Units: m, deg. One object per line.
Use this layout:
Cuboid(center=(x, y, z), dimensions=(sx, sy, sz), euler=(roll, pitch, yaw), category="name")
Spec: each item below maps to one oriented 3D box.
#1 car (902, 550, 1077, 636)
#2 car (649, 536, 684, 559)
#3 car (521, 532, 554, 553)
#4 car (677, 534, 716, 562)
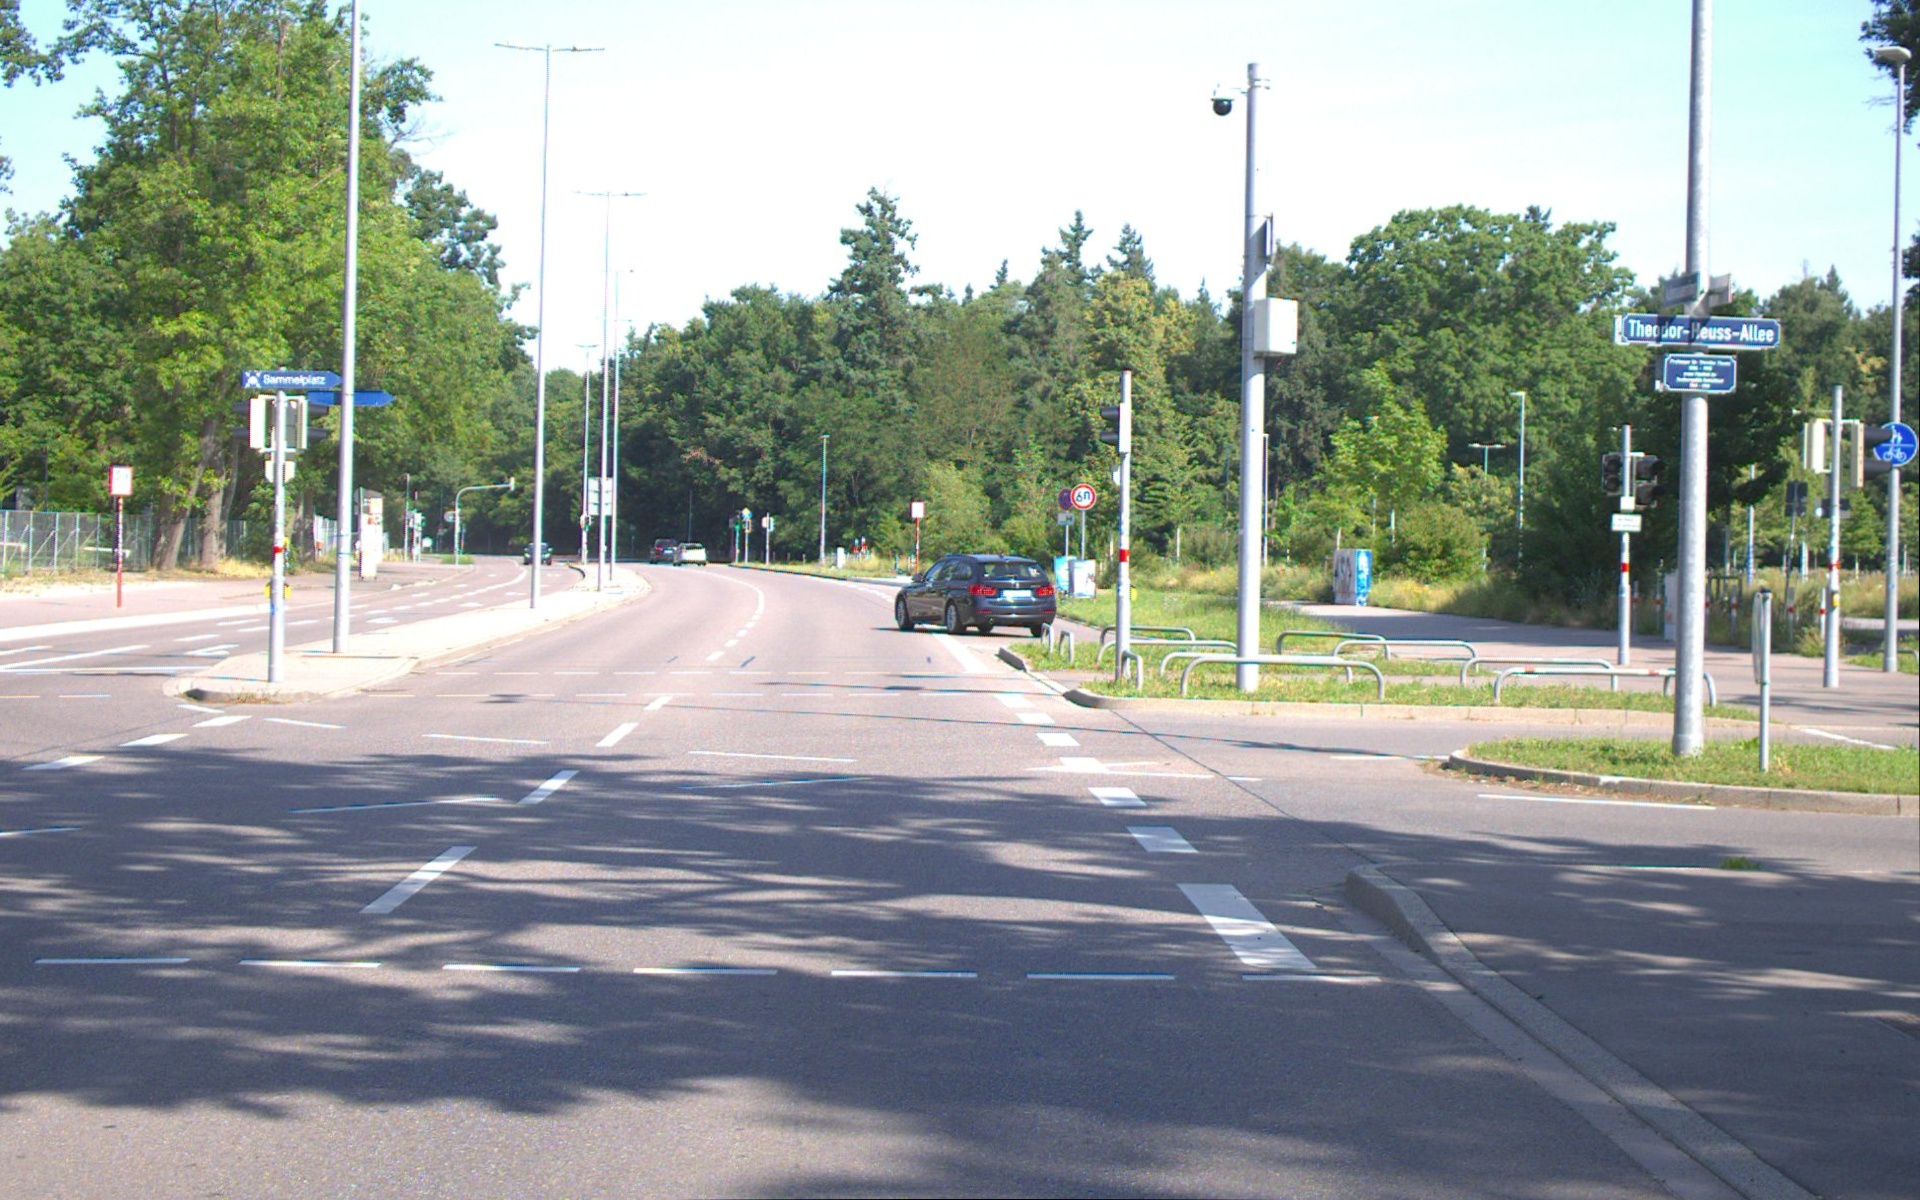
Cuboid(center=(0.486, -0.149, 61.445), dimensions=(1.940, 1.415, 4.294), euler=(1, 1, -16), category="car")
Cuboid(center=(-20.356, -3.647, 238.272), dimensions=(1.993, 1.590, 4.001), euler=(1, 1, -11), category="car")
Cuboid(center=(-28.488, -3.848, 231.862), dimensions=(1.810, 1.383, 4.163), euler=(-1, 1, -12), category="car")
Cuboid(center=(-17.001, -3.339, 221.579), dimensions=(1.993, 1.744, 4.001), euler=(1, 1, -12), category="car")
